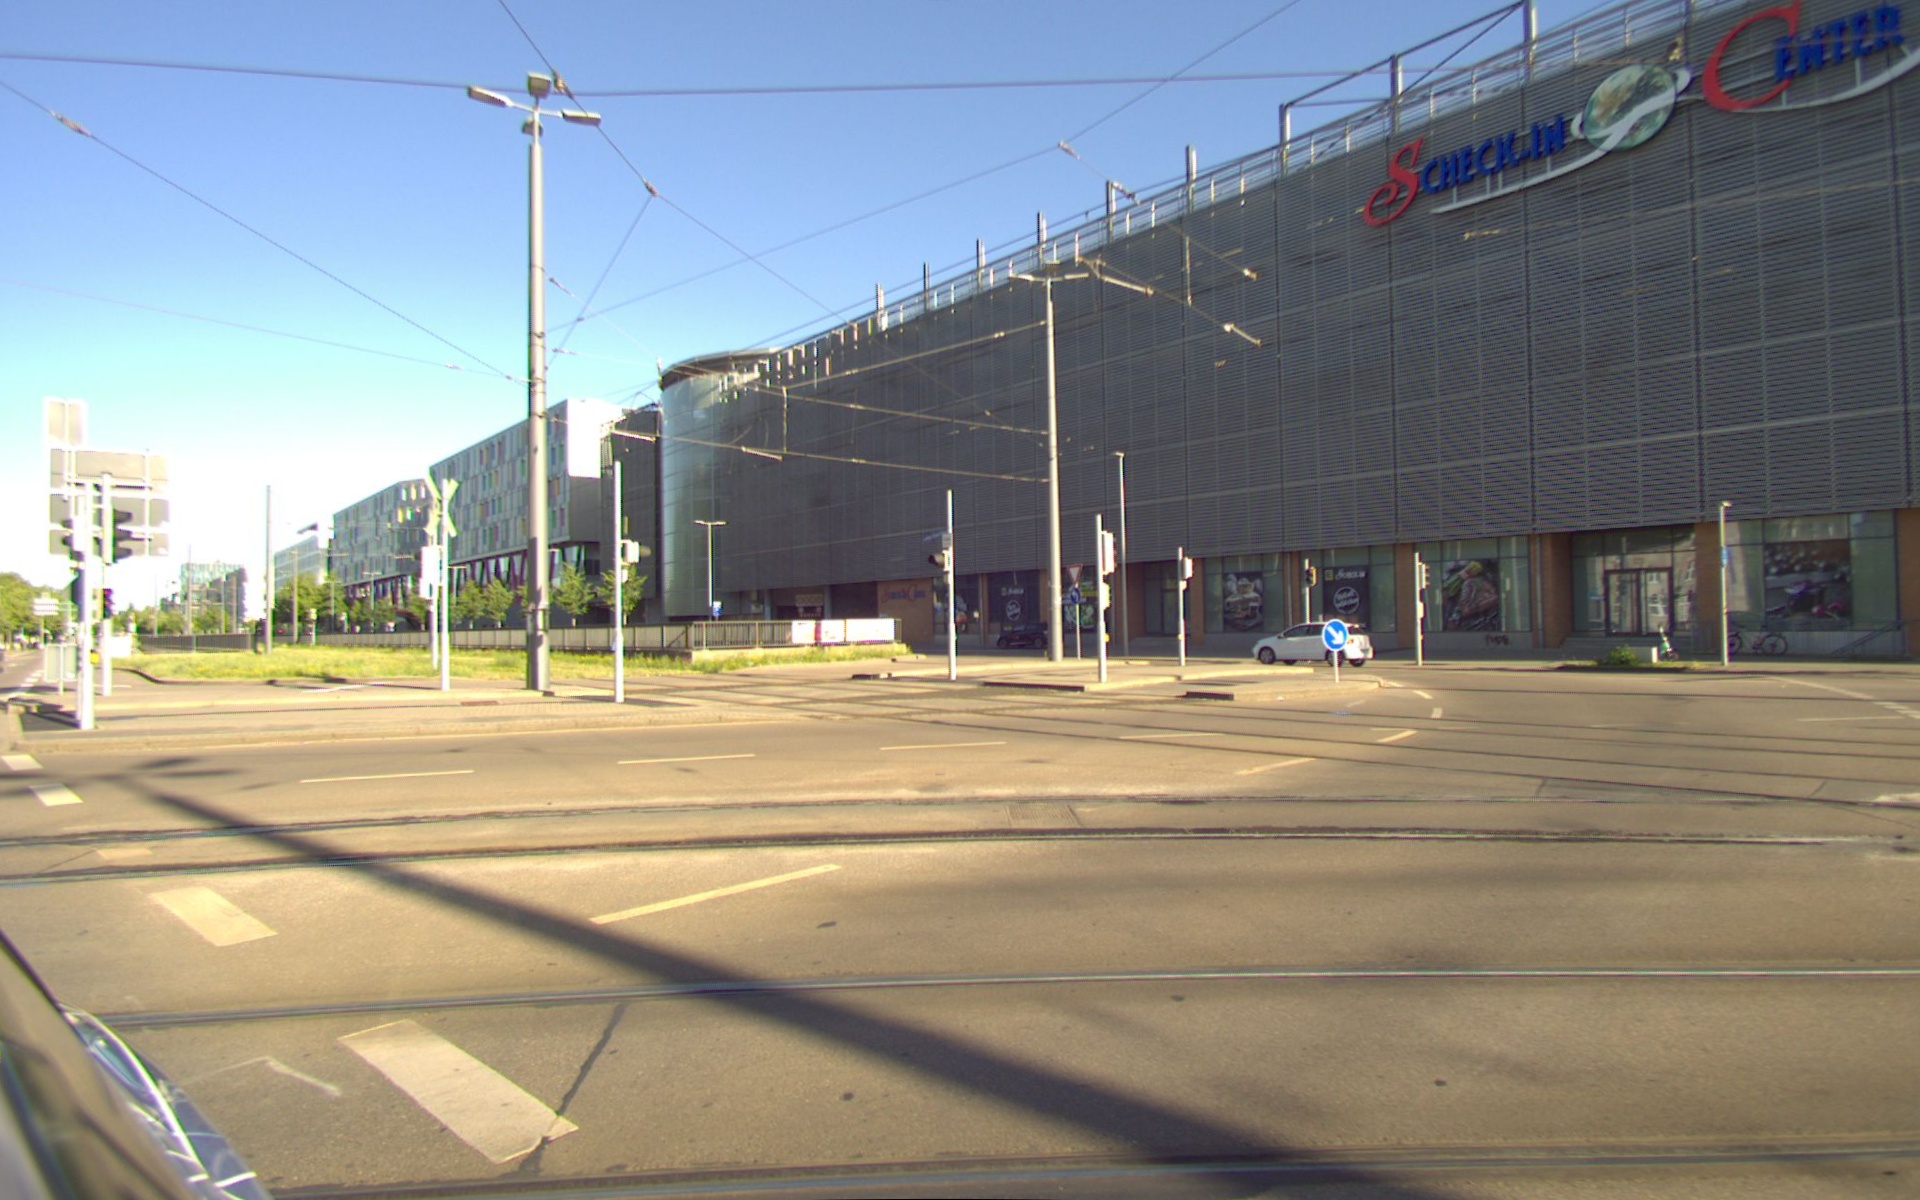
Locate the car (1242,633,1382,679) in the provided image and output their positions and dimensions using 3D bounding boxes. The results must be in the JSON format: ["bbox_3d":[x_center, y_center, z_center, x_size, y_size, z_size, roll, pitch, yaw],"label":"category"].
[{"bbox_3d":[11.712,1.852,33.843,1.871,1.418,4.004,1,-2,-43],"label":"car"}]

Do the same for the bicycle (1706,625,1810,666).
[{"bbox_3d":[25.169,1.442,31.978,0.790,1.230,2.420,-1,-2,-38],"label":"bicycle"}]

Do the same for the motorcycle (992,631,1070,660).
[{"bbox_3d":[3.843,2.497,55.257,1.969,1.464,4.005,0,-3,-41],"label":"motorcycle"}]
